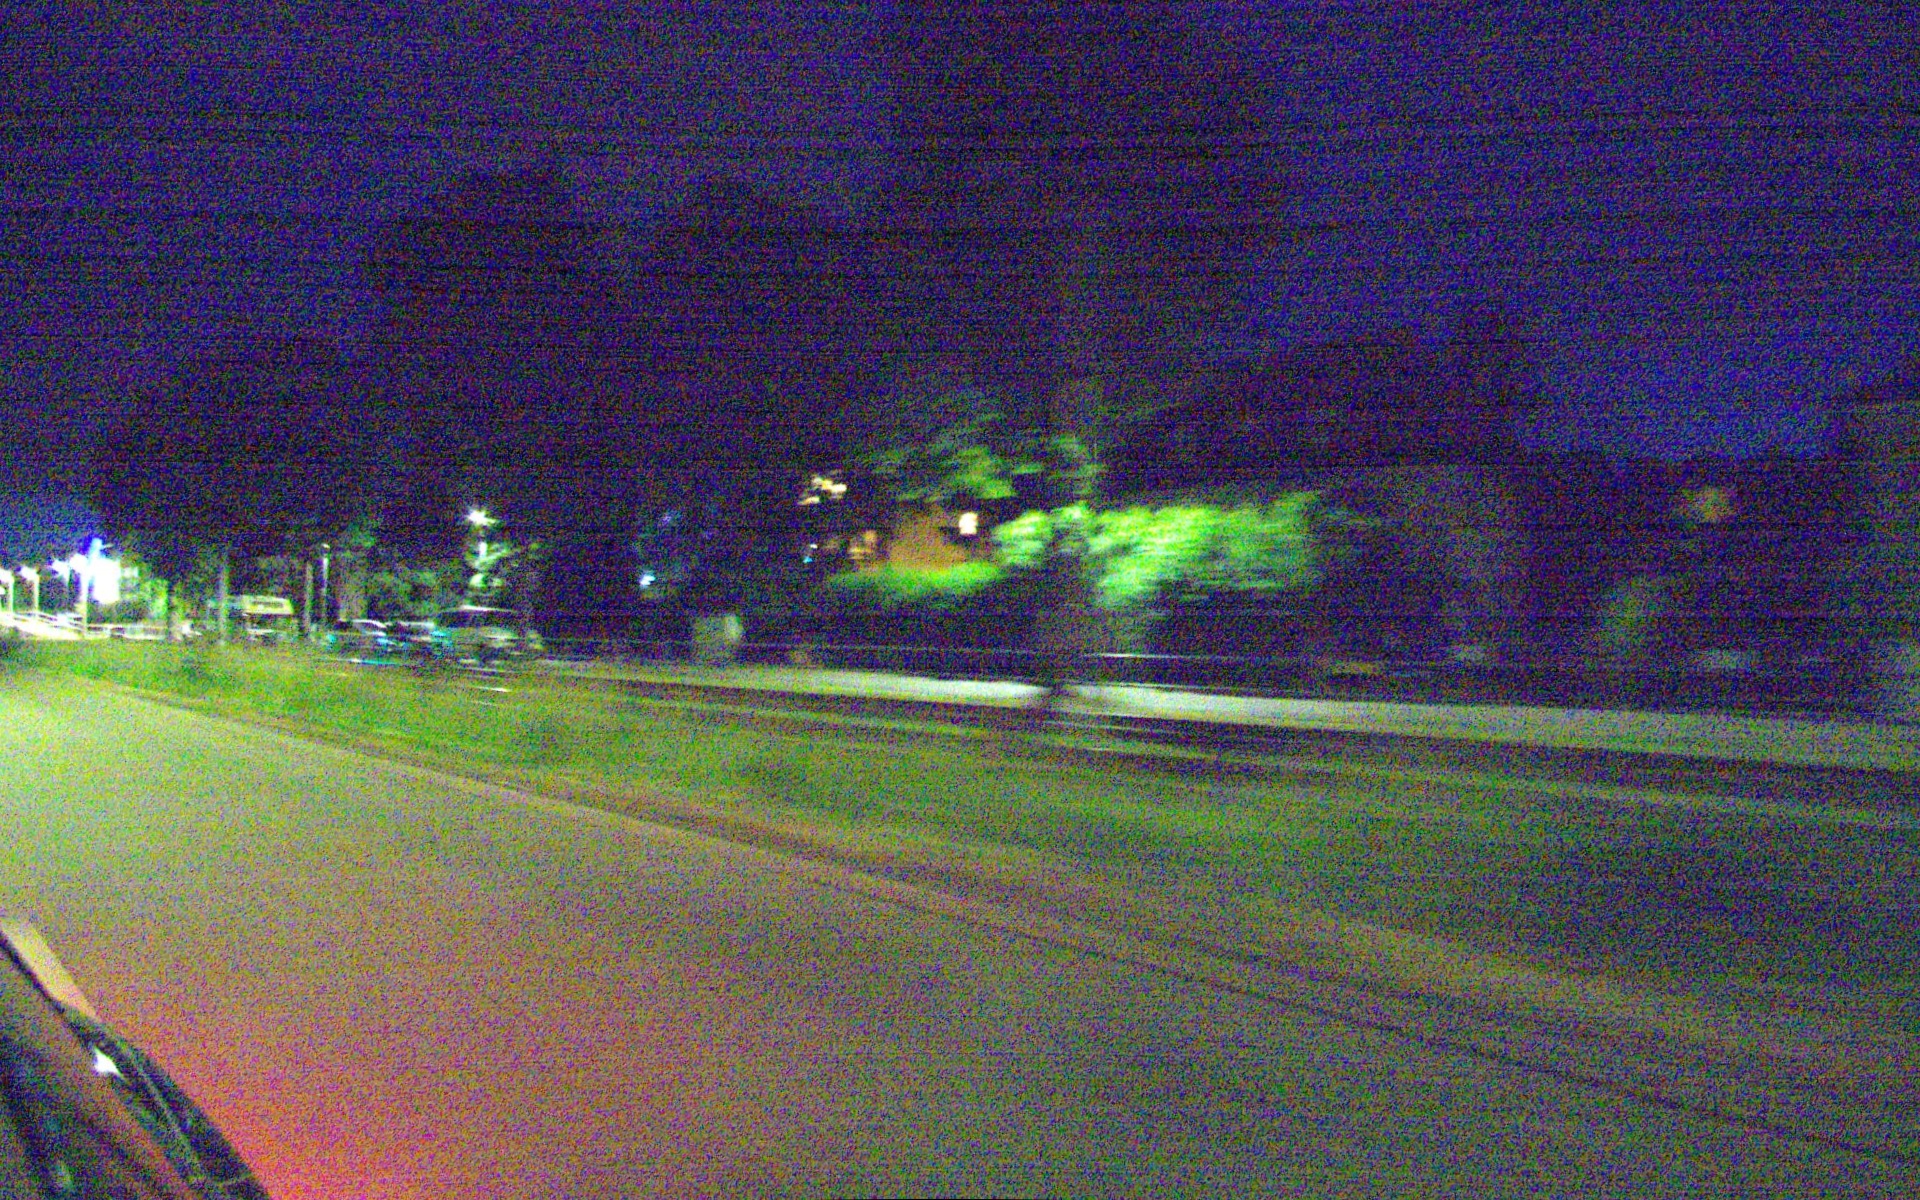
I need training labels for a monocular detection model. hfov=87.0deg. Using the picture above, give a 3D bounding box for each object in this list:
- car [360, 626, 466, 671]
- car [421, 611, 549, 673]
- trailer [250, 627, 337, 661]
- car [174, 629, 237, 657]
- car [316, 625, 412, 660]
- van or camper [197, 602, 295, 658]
[{"bbox_3d":[-20.257,1.723,37.385,5.171,1.534,1.881,-1,-2,43],"label":"car"},{"bbox_3d":[-15.703,1.339,33.368,4.873,1.919,1.839,-1,-2,38],"label":"car"},{"bbox_3d":[-30.818,2.025,46.754,4.657,1.385,2.392,-2,-6,45],"label":"trailer"},{"bbox_3d":[-40.955,2.319,54.907,4.538,1.350,1.629,-1,-6,40],"label":"car"},{"bbox_3d":[-24.234,1.704,41.209,1.530,1.336,3.002,-1,-2,35],"label":"car"},{"bbox_3d":[-35.972,1.528,50.917,5.653,2.668,2.252,-1,-4,36],"label":"van or camper"}]
